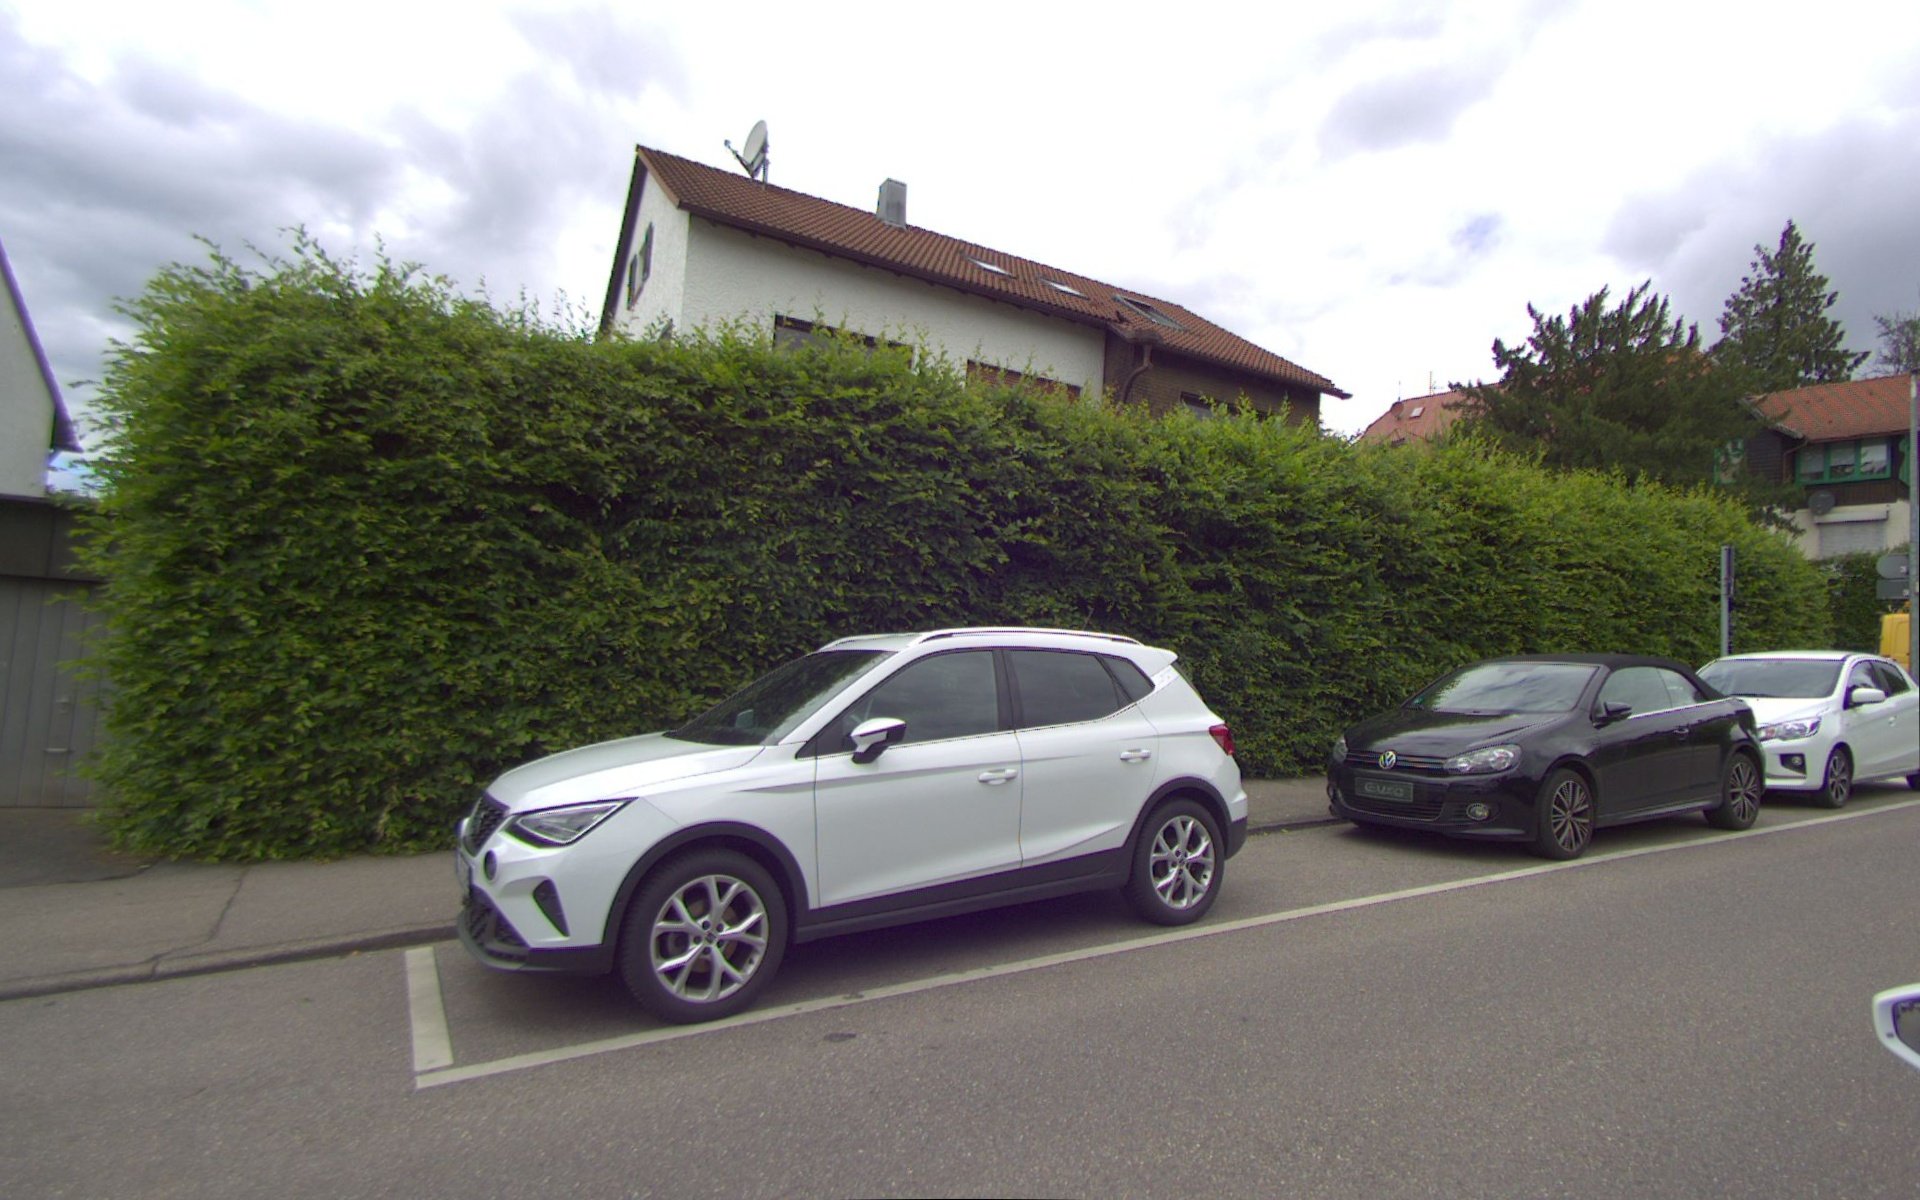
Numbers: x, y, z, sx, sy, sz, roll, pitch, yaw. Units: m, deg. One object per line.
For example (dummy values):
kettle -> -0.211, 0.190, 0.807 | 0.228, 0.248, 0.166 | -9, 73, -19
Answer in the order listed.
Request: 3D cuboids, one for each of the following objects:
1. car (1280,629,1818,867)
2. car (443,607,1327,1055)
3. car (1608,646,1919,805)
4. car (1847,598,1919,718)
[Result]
car -> 5.022, 1.097, 8.397 | 4.684, 1.508, 1.774 | 2, -6, -30
car -> -0.274, 0.862, 5.316 | 4.291, 1.509, 1.877 | 1, -3, -30
car -> 8.807, 1.240, 10.749 | 3.537, 1.437, 1.683 | 2, -5, -30
car -> 23.388, 1.268, 21.840 | 6.054, 2.635, 2.356 | -2, -3, 41
